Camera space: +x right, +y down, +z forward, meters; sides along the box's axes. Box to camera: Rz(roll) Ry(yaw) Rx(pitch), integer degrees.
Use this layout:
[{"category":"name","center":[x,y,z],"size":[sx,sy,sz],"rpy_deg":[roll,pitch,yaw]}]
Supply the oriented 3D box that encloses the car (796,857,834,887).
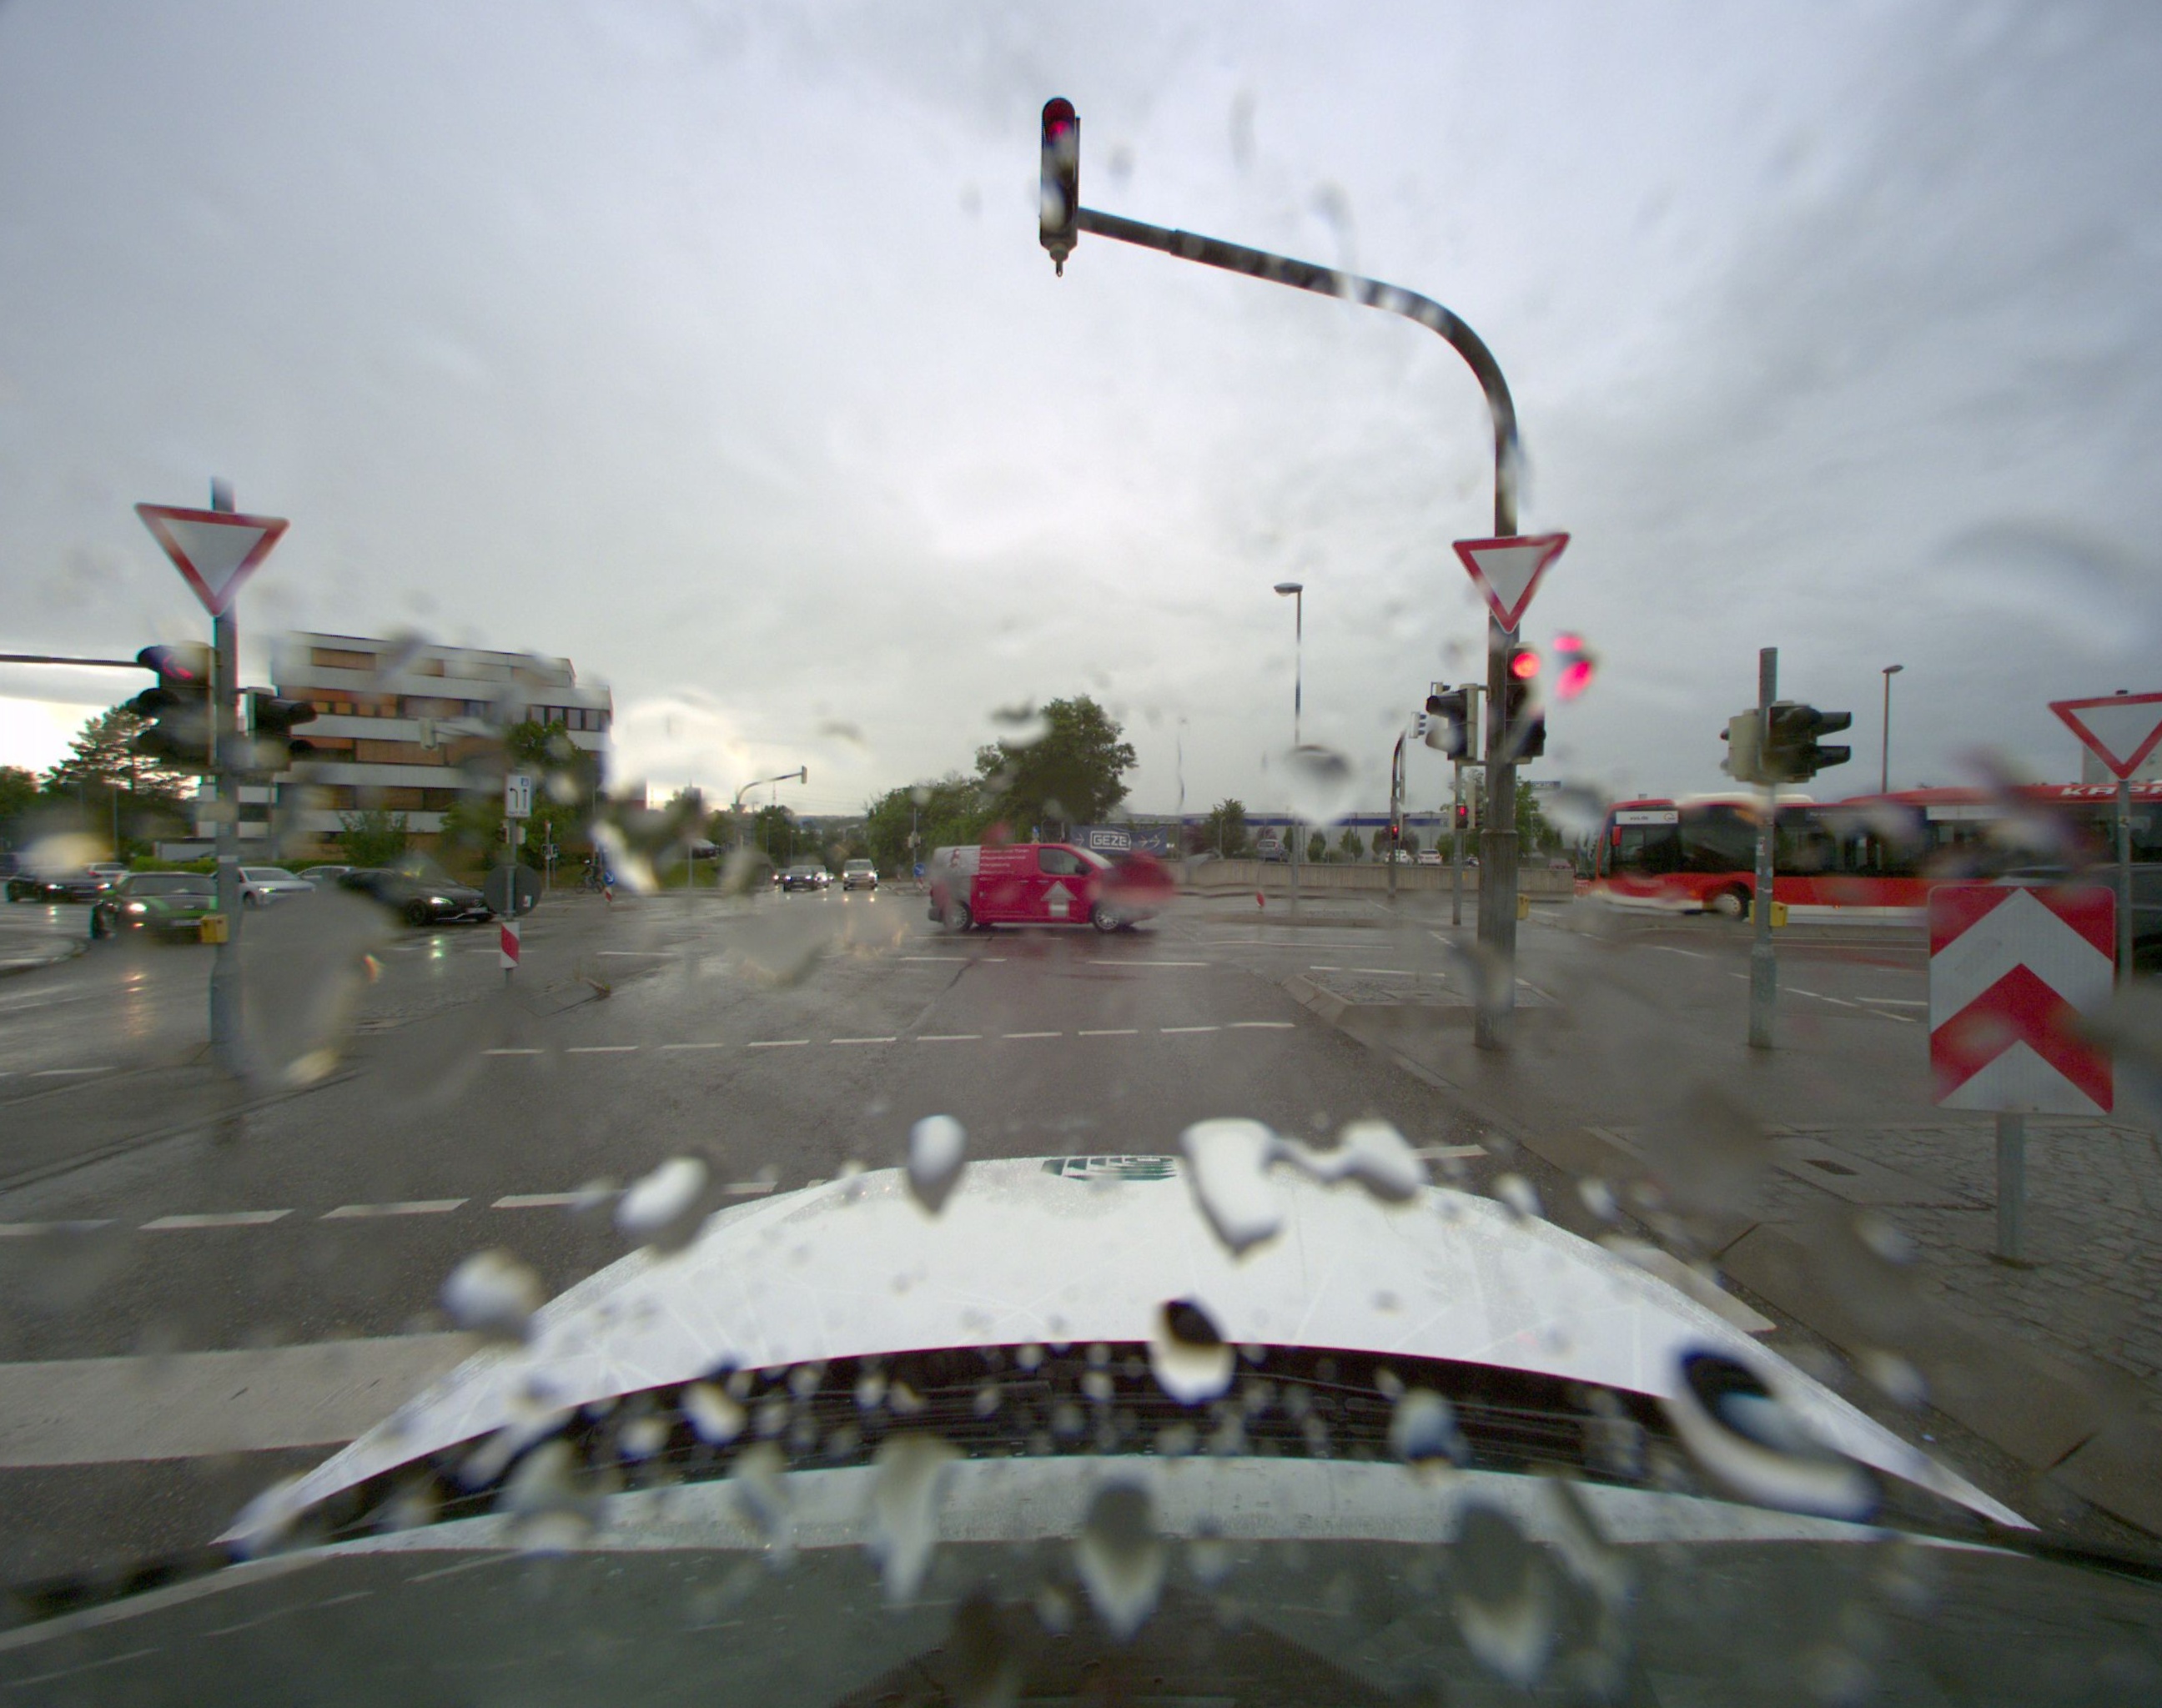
[{"category":"car","center":[-18.241,1.192,56.022],"size":[1.995,1.895,3.984],"rpy_deg":[0,0,-12]}]

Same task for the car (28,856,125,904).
[{"category":"car","center":[-40.704,1.002,32.982],"size":[3.950,1.838,1.715],"rpy_deg":[0,0,28]}]

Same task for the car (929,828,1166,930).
[{"category":"car","center":[-0.666,0.508,17.695],"size":[4.737,2.013,2.008],"rpy_deg":[0,0,14]}]

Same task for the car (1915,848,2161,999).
[{"category":"car","center":[13.602,0.815,9.774],"size":[4.580,1.679,2.044],"rpy_deg":[1,1,18]}]

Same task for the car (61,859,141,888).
[{"category":"car","center":[-56.127,1.082,46.646],"size":[3.951,1.596,1.968],"rpy_deg":[0,0,25]}]

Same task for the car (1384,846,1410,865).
[{"category":"car","center":[26.382,0.097,67.857],"size":[1.976,1.478,4.021],"rpy_deg":[0,0,22]}]

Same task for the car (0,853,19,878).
[{"category":"car","center":[-81.524,0.851,61.253],"size":[3.948,1.849,2.013],"rpy_deg":[0,0,38]}]

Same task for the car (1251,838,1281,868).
[{"category":"car","center":[13.096,-0.077,57.555],"size":[1.979,2.013,4.015],"rpy_deg":[0,0,13]}]

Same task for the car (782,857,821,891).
[{"category":"car","center":[-16.692,1.155,48.733],"size":[1.998,1.895,3.978],"rpy_deg":[0,0,-16]}]

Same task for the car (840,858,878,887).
[{"category":"car","center":[-13.059,1.065,48.094],"size":[1.995,1.618,3.983],"rpy_deg":[0,0,-13]}]

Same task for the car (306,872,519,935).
[{"category":"car","center":[-17.933,1.275,21.907],"size":[4.626,1.476,2.007],"rpy_deg":[0,0,13]}]

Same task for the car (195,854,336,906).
[{"category":"car","center":[-28.304,0.863,28.289],"size":[3.953,1.684,2.010],"rpy_deg":[0,0,21]}]

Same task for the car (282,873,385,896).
[{"category":"car","center":[-39.151,1.595,42.722],"size":[3.512,1.105,1.811],"rpy_deg":[0,0,-16]}]

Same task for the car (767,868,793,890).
[{"category":"car","center":[-28.581,2.364,77.377],"size":[1.997,1.895,3.979],"rpy_deg":[0,0,-15]}]

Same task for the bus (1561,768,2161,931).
[{"category":"bus","center":[18.710,-0.188,19.362],"size":[12.177,3.321,3.090],"rpy_deg":[1,0,19]}]

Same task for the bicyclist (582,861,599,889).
[{"category":"bicyclist","center":[-26.188,1.110,43.461],"size":[0.542,1.446,0.602],"rpy_deg":[0,0,-5]}]

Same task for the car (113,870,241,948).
[{"category":"car","center":[-19.097,1.080,17.263],"size":[3.417,1.387,1.691],"rpy_deg":[0,0,42]}]

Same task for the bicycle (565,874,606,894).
[{"category":"bicycle","center":[-26.409,1.607,43.443],"size":[1.771,1.052,0.609],"rpy_deg":[0,0,-5]}]

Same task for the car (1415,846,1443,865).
[{"category":"car","center":[28.688,0.106,67.177],"size":[1.976,1.478,4.021],"rpy_deg":[0,0,21]}]
